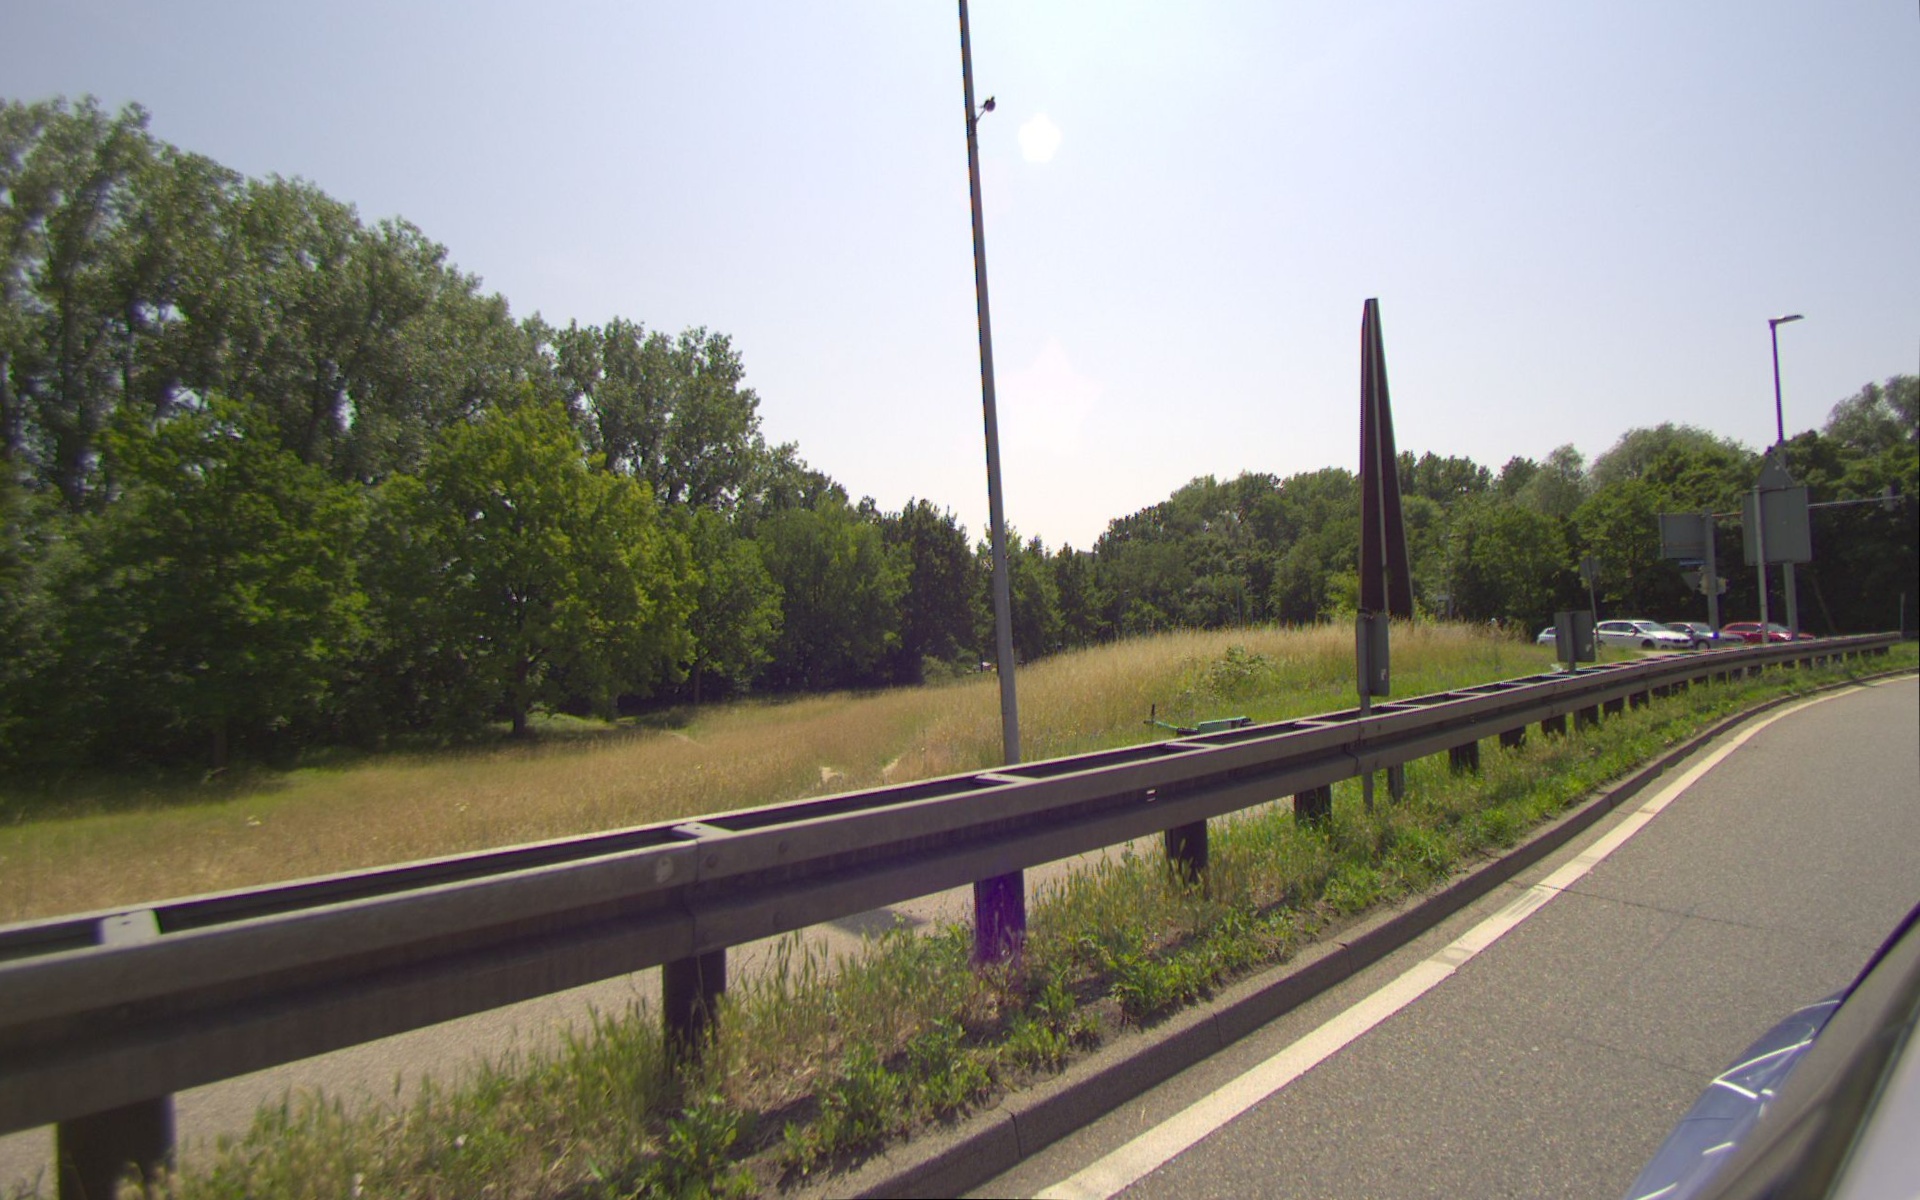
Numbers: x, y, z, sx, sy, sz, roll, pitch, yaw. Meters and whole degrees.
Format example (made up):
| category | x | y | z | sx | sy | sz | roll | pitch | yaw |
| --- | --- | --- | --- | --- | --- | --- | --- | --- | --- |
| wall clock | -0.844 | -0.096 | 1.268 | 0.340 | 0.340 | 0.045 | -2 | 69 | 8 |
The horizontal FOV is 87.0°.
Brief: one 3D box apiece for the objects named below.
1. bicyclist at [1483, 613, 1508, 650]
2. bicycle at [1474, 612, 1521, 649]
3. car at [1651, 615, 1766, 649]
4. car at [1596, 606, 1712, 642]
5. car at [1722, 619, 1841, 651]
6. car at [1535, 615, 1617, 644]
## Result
| category | x | y | z | sx | sy | sz | roll | pitch | yaw |
| --- | --- | --- | --- | --- | --- | --- | --- | --- | --- |
| bicyclist | 23.806 | 1.405 | 45.022 | 0.657 | 1.620 | 0.692 | -1 | -2 | -3 |
| bicycle | 23.806 | 1.355 | 44.902 | 0.643 | 1.594 | 2.375 | -1 | -2 | -3 |
| car | 34.525 | 1.472 | 46.833 | 1.830 | 1.442 | 4.190 | -1 | -2 | -7 |
| car | 31.110 | 1.087 | 45.522 | 1.830 | 1.526 | 4.301 | -1 | -2 | -7 |
| car | 37.943 | 1.606 | 46.900 | 1.719 | 1.372 | 4.190 | -1 | -2 | -7 |
| car | 33.086 | 1.592 | 54.497 | 1.550 | 1.449 | 4.004 | -1 | -2 | -8 |
